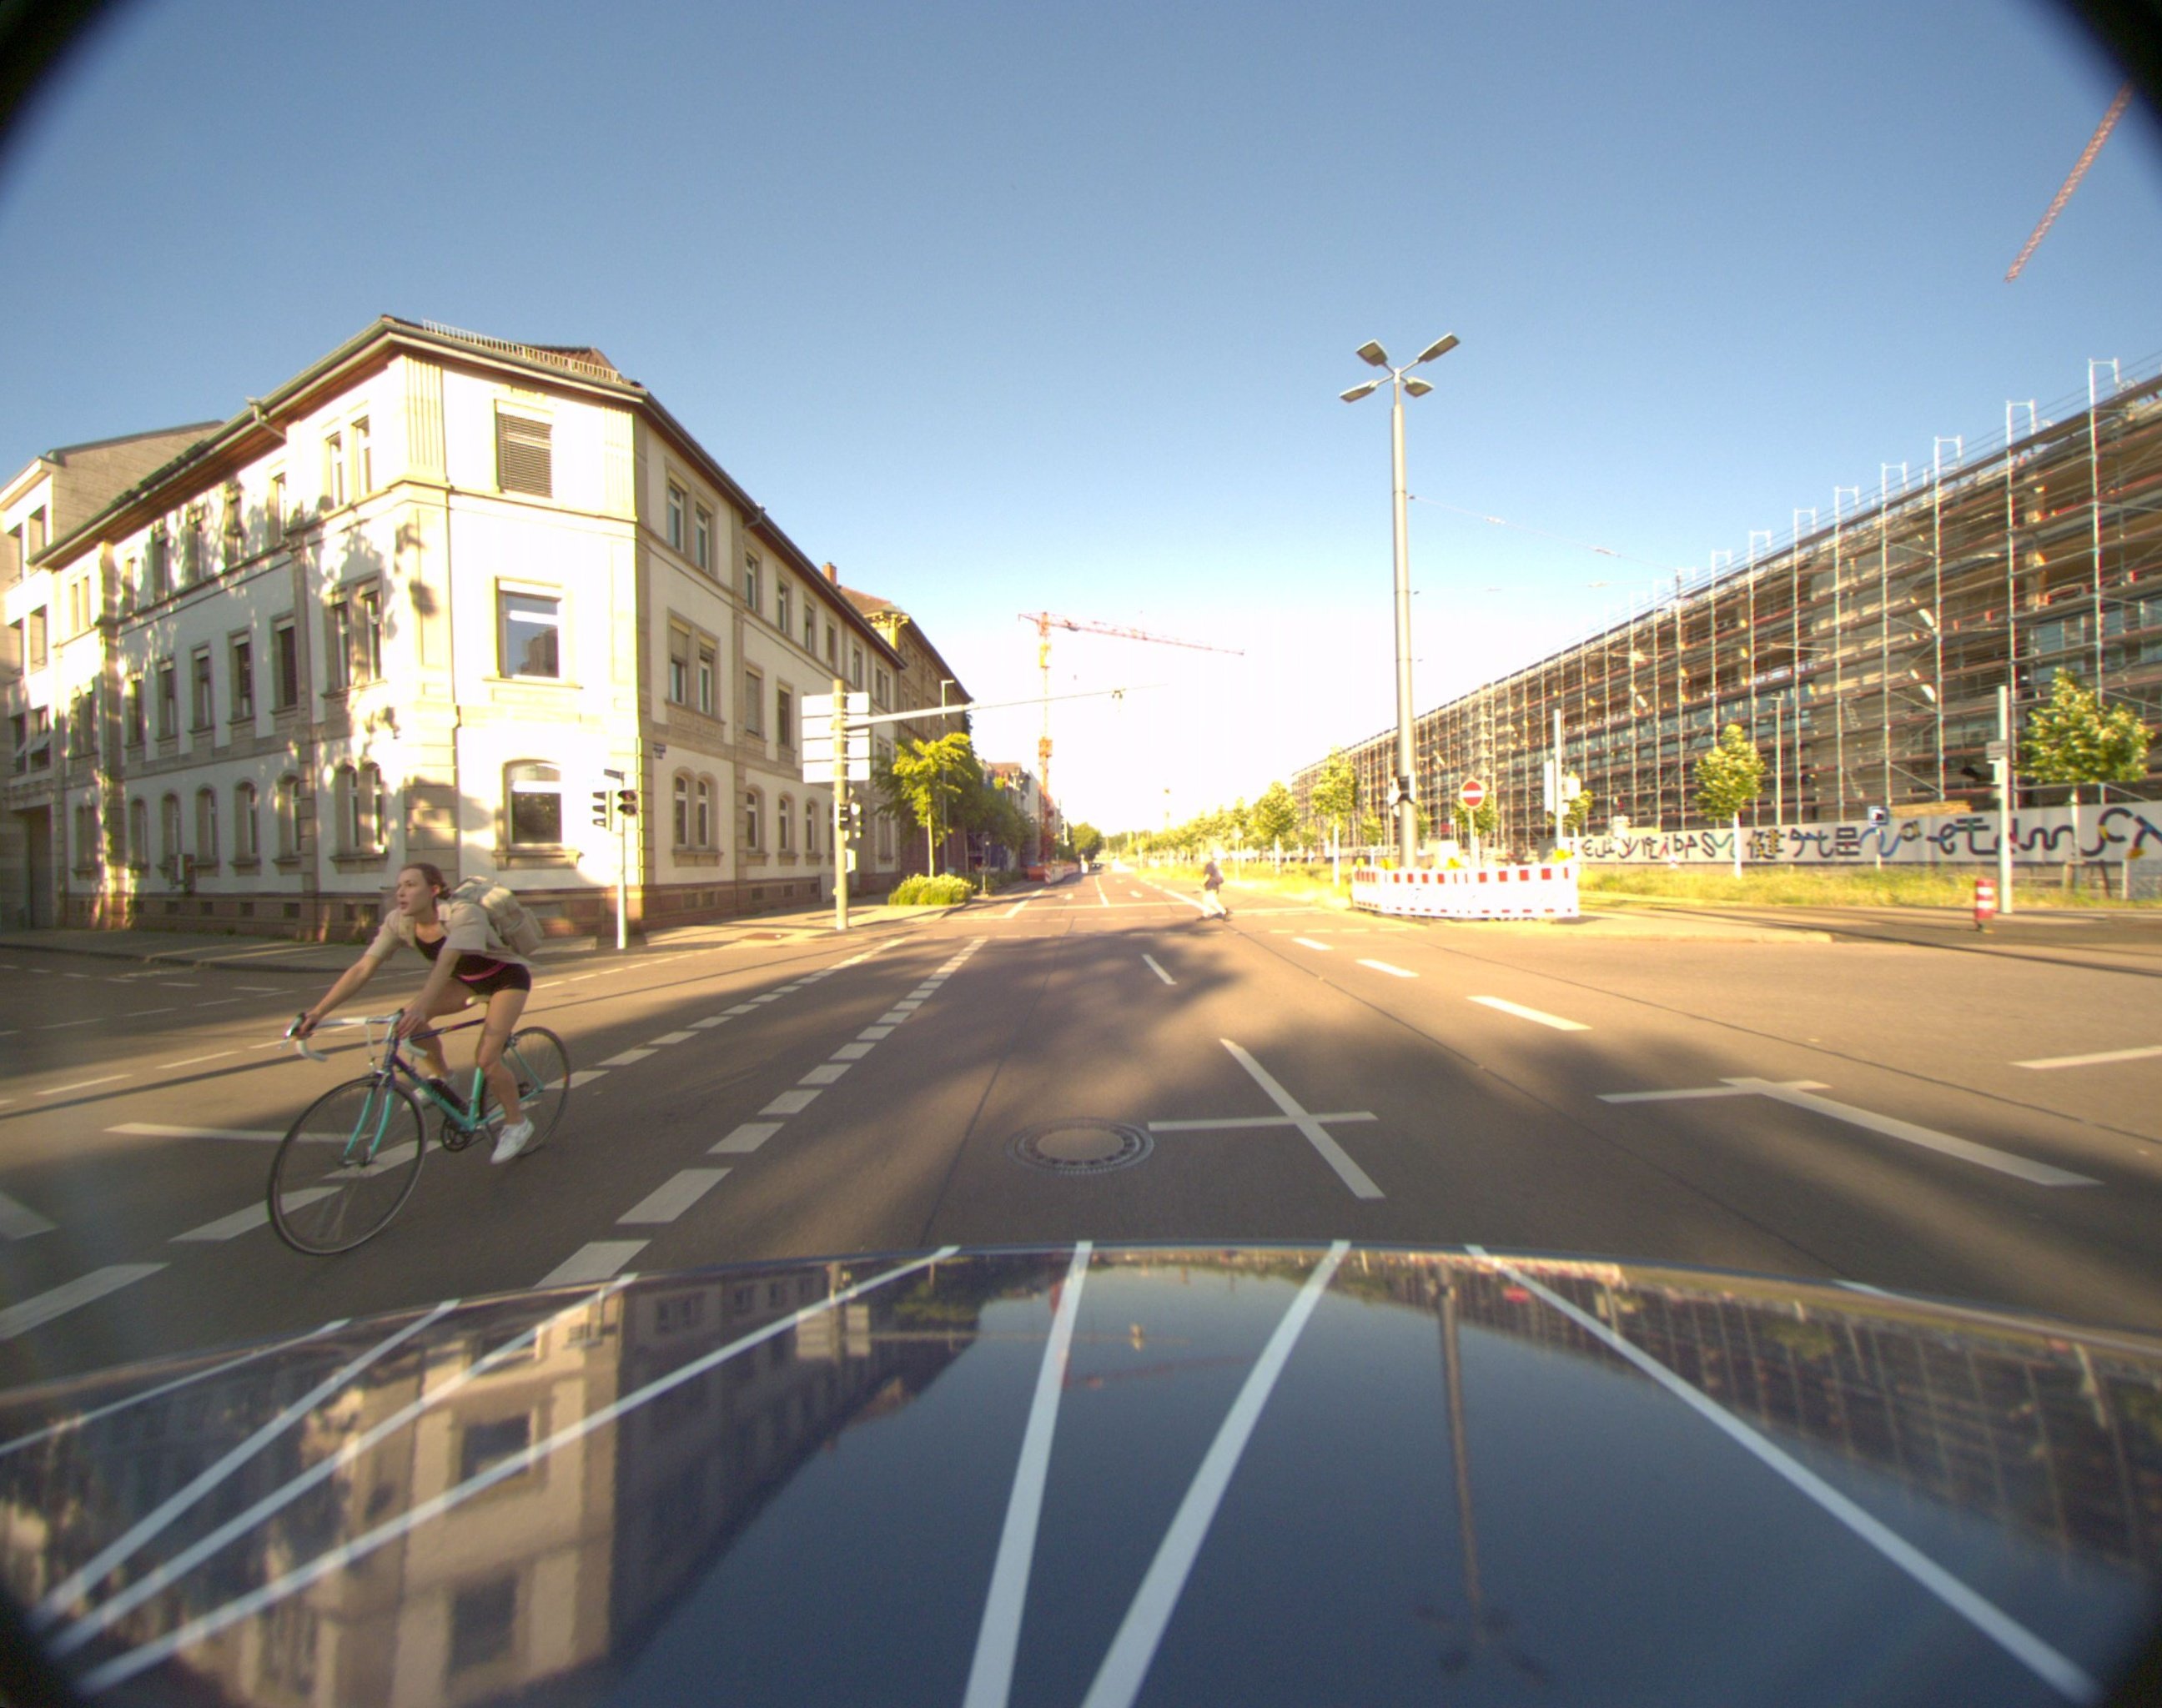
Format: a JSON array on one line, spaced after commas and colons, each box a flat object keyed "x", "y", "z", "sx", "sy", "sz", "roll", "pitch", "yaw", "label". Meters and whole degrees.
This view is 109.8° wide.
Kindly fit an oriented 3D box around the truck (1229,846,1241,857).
[{"x": 35.722, "y": -0.512, "z": 176.489, "sx": 2.143, "sy": 2.559, "sz": 4.741, "roll": -1, "pitch": 0, "yaw": 3, "label": "truck"}]

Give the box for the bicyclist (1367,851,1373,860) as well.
[{"x": 39.342, "y": 0.188, "z": 103.451, "sx": 0.480, "sy": 1.147, "sz": 0.638, "roll": -1, "pitch": 0, "yaw": 1, "label": "bicyclist"}]

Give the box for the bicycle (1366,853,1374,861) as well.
[{"x": 39.351, "y": 0.350, "z": 103.502, "sx": 0.480, "sy": 1.055, "sz": 1.564, "roll": -1, "pitch": 0, "yaw": 1, "label": "bicycle"}]

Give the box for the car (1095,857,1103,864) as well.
[{"x": 4.687, "y": 1.715, "z": 197.906, "sx": 1.998, "sy": 1.696, "sz": 4.000, "roll": -1, "pitch": 0, "yaw": 1, "label": "car"}]

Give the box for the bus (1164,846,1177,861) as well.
[{"x": 19.341, "y": -0.133, "z": 164.336, "sx": 2.722, "sy": 3.203, "sz": 8.660, "roll": -1, "pitch": 0, "yaw": 6, "label": "bus"}]

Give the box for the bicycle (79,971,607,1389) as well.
[{"x": -2.988, "y": 1.209, "z": 3.404, "sx": 0.522, "sy": 1.091, "sz": 1.843, "roll": -1, "pitch": 0, "yaw": 1, "label": "bicycle"}]

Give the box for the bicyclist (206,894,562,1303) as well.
[{"x": -2.989, "y": 0.947, "z": 3.395, "sx": 0.553, "sy": 1.482, "sz": 1.081, "roll": -1, "pitch": 0, "yaw": 1, "label": "bicyclist"}]

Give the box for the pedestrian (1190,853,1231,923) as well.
[{"x": 3.093, "y": 0.796, "z": 18.102, "sx": 0.926, "sy": 1.639, "sz": 0.766, "roll": -1, "pitch": 1, "yaw": 11, "label": "pedestrian"}]
